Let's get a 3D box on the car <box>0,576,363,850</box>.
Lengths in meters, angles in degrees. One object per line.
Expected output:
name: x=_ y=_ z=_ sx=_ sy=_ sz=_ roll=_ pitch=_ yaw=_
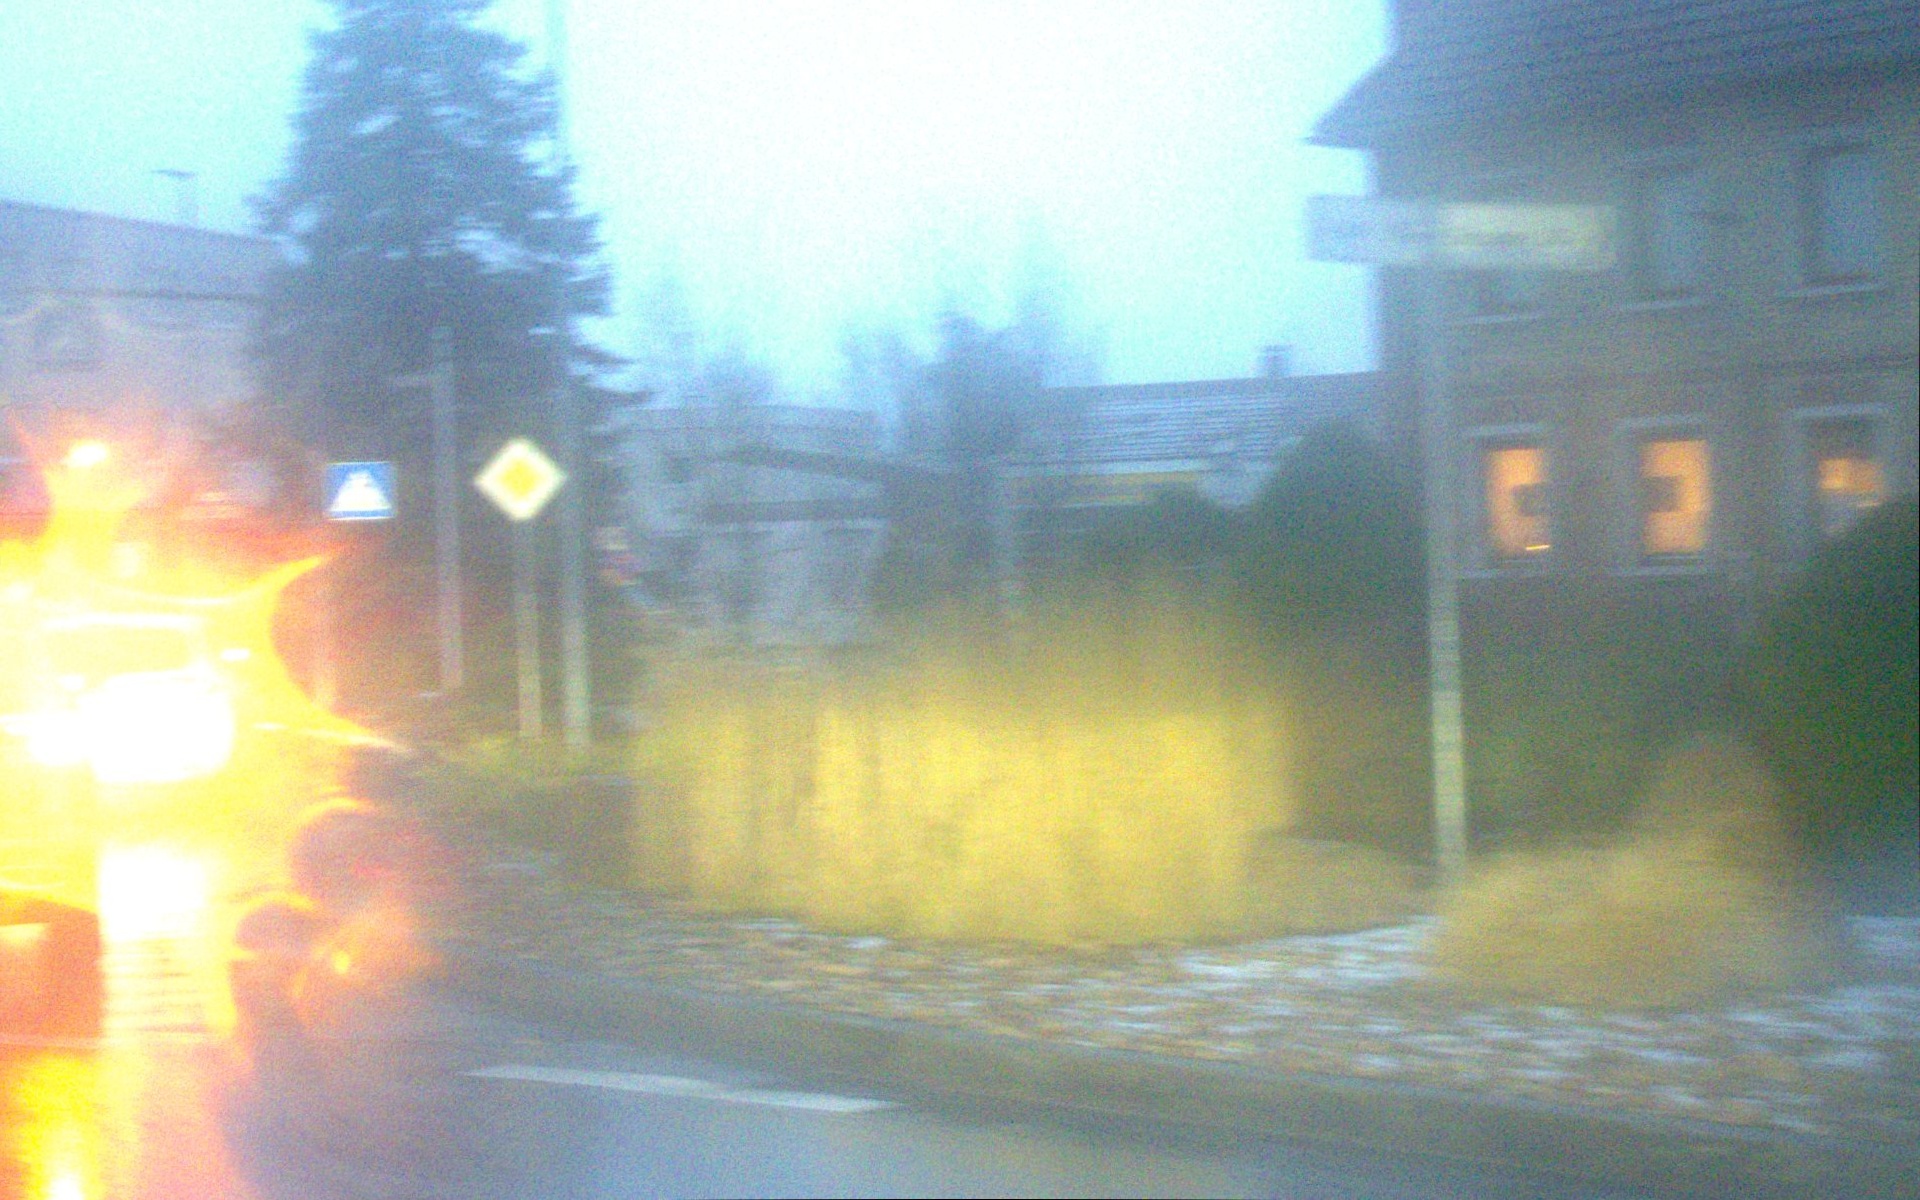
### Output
car: x=-5.829 y=0.773 z=26.302 sx=2.163 sy=1.683 sz=4.573 roll=-2 pitch=2 yaw=-6

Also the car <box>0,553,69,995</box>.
car: x=-5.008 y=0.677 z=15.067 sx=1.944 sy=1.712 sz=4.001 roll=-2 pitch=1 yaw=-17
